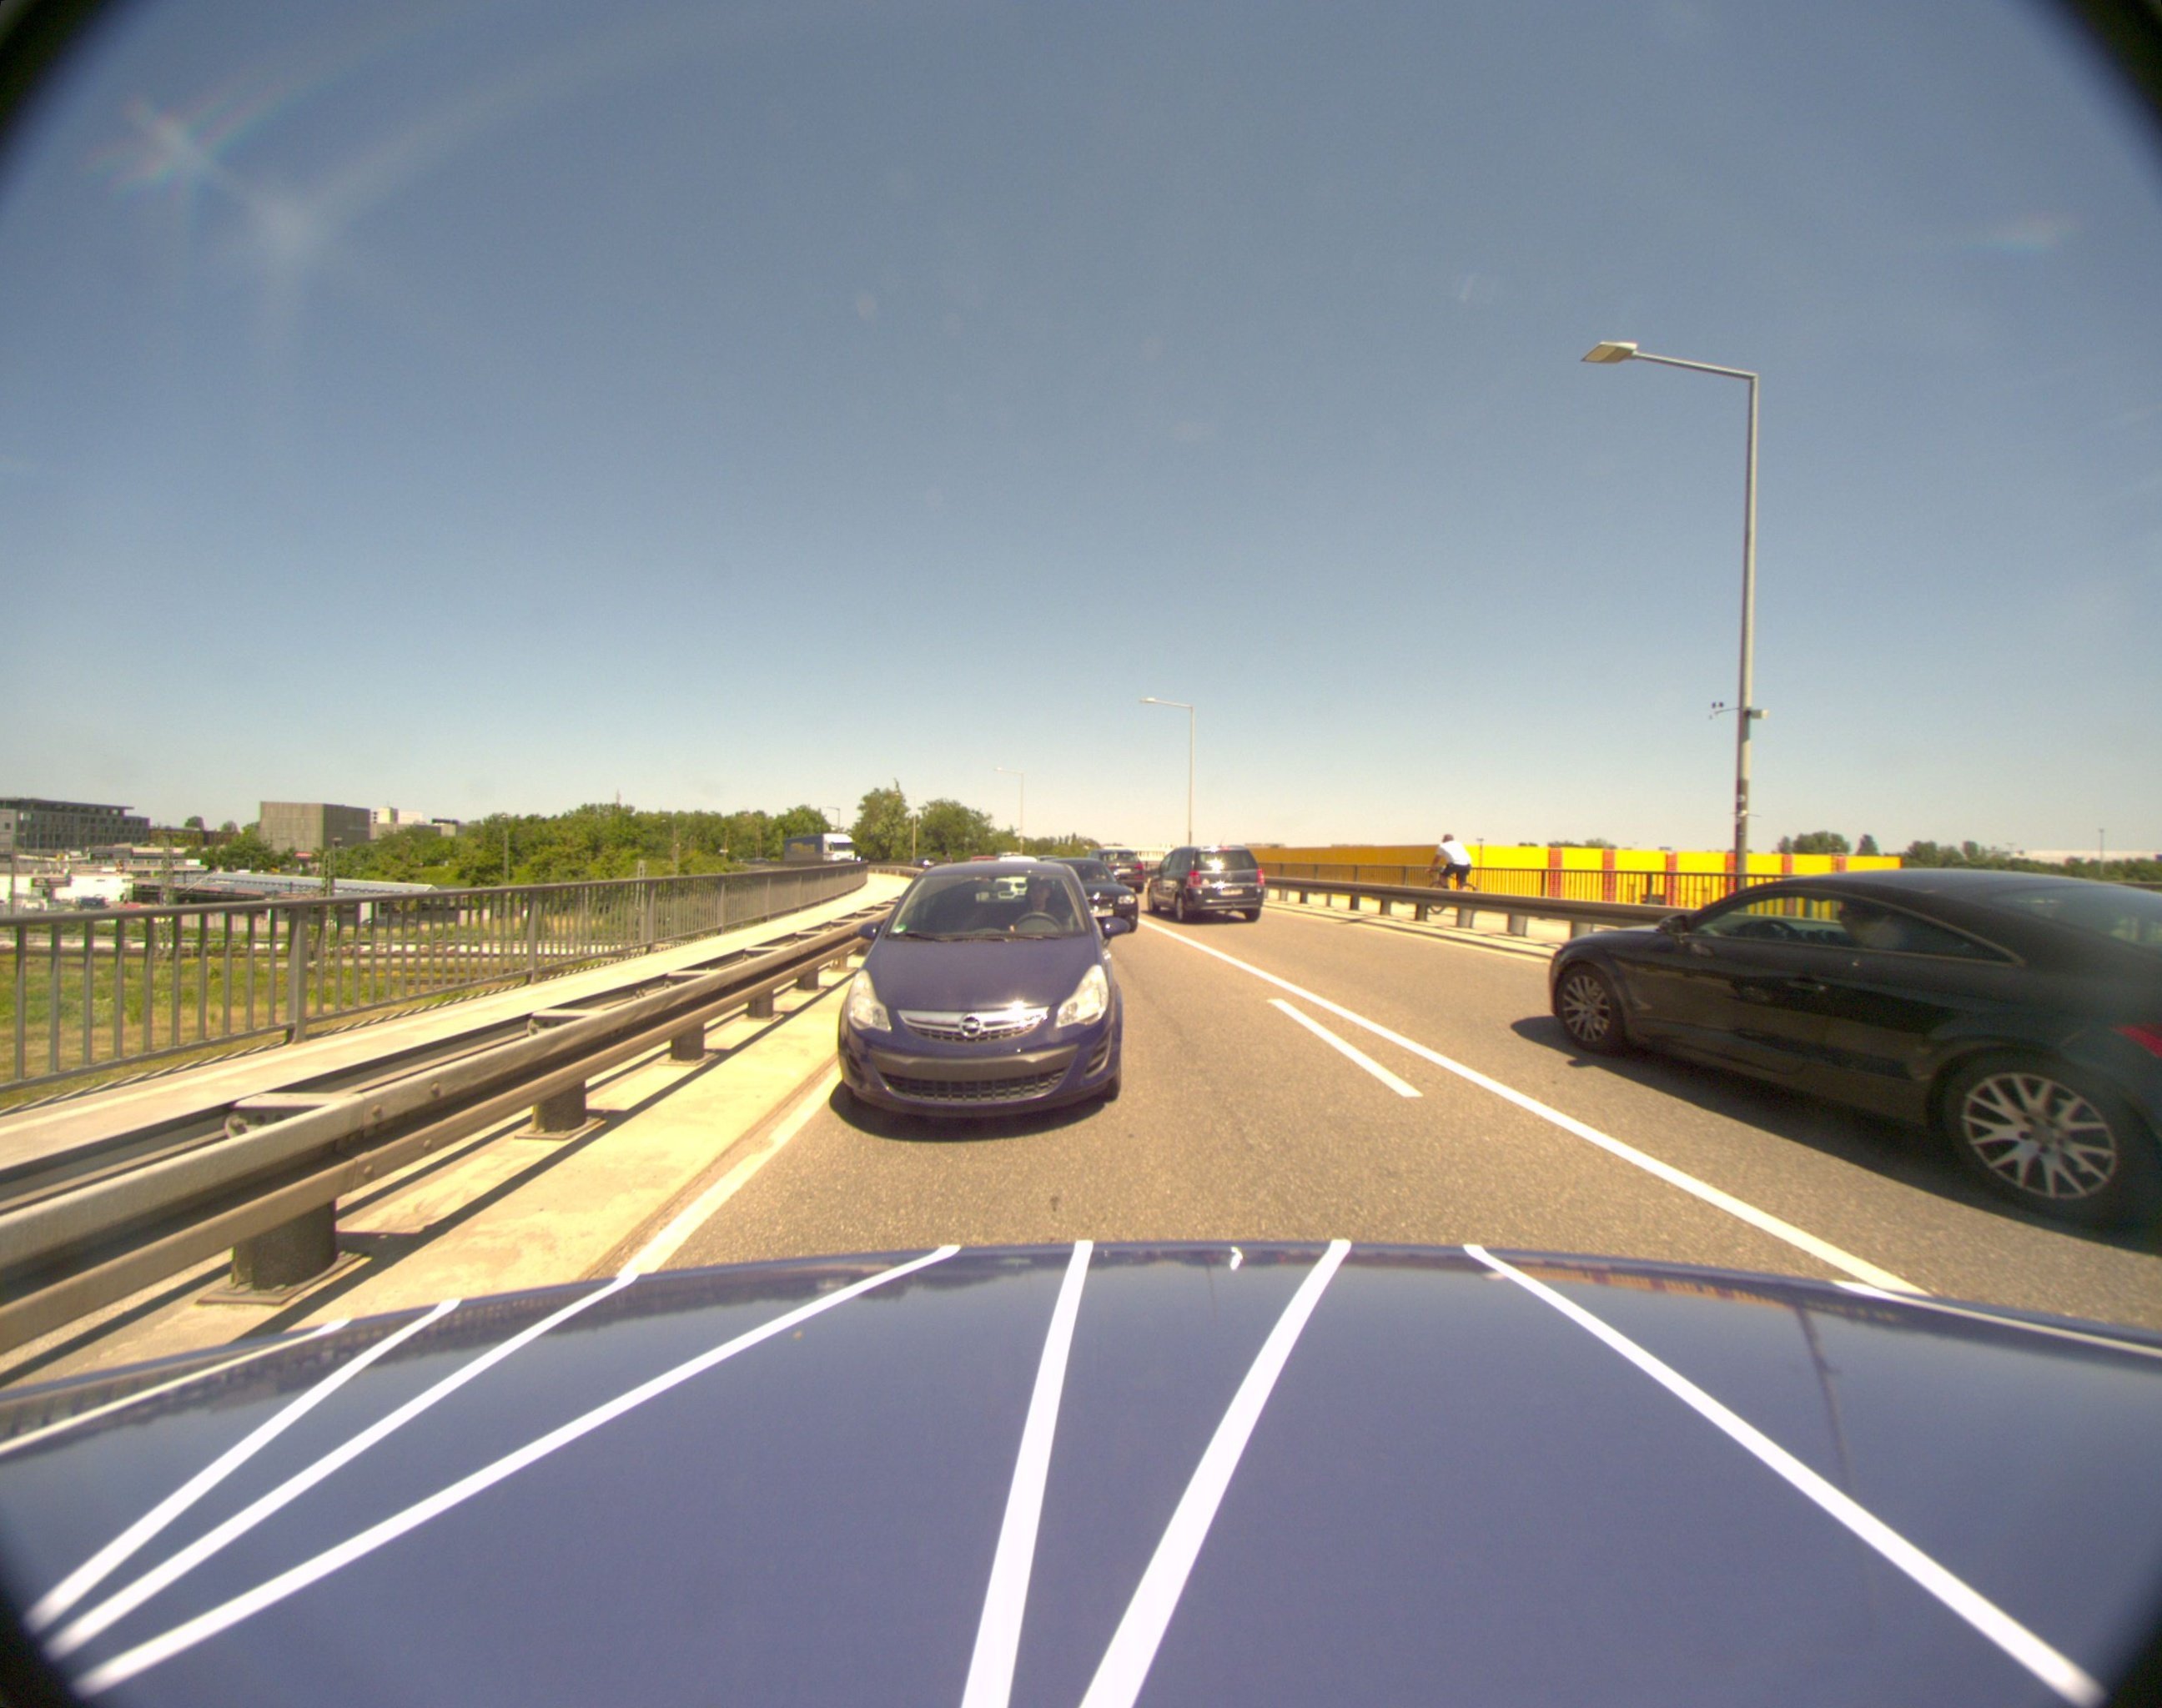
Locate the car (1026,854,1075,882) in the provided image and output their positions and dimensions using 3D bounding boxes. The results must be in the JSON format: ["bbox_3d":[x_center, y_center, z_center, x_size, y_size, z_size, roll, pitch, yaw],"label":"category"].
[{"bbox_3d":[-1.702,0.712,41.070,1.704,1.368,3.994,-1,1,-17],"label":"car"}]

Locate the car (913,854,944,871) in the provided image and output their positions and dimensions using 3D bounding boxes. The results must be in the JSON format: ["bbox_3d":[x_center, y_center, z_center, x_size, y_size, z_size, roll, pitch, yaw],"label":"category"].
[{"bbox_3d":[-14.041,0.749,69.858,1.780,1.430,4.382,-1,1,-25],"label":"car"}]

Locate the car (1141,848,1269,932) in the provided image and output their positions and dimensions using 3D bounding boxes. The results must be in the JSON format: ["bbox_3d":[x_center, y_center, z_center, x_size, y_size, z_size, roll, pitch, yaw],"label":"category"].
[{"bbox_3d":[2.664,0.711,17.285,1.712,1.617,4.250,-2,0,-7],"label":"car"}]

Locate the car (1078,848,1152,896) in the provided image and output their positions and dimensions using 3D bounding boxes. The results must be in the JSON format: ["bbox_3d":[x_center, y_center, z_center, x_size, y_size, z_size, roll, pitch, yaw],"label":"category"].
[{"bbox_3d":[1.202,0.624,28.971,1.807,1.631,4.296,-1,0,-11],"label":"car"}]

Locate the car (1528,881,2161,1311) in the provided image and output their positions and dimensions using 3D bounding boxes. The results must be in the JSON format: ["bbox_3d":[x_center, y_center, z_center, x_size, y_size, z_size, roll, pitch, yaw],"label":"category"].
[{"bbox_3d":[4.485,0.896,4.107,1.683,1.300,3.972,-1,0,-2],"label":"car"}]

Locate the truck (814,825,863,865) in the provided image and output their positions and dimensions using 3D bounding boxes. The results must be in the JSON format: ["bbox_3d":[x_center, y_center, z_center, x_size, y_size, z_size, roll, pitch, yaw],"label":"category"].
[{"bbox_3d":[-26.939,-0.952,84.171,2.701,4.205,6.820,-4,2,-39],"label":"truck"}]

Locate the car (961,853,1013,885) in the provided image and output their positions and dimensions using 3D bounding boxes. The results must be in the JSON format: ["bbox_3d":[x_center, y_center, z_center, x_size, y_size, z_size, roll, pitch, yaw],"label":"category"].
[{"bbox_3d":[-4.834,0.700,38.520,1.797,1.447,4.516,-2,1,-17],"label":"car"}]

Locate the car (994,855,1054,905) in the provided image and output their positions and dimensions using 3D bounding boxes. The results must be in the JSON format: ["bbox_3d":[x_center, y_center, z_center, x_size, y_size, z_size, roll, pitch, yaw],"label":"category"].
[{"bbox_3d":[-2.031,0.810,25.824,1.795,1.447,4.520,-2,1,-7],"label":"car"}]

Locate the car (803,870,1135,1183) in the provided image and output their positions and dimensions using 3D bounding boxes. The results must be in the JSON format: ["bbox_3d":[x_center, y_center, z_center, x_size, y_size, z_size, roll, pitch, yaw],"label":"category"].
[{"bbox_3d":[-0.683,0.915,5.890,1.645,1.431,3.998,-2,1,-4],"label":"car"}]

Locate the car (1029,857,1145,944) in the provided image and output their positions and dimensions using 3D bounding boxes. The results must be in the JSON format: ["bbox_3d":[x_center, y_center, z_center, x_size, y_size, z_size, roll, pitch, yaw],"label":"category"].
[{"bbox_3d":[-0.043,0.834,15.865,1.795,1.447,4.519,-2,1,-7],"label":"car"}]

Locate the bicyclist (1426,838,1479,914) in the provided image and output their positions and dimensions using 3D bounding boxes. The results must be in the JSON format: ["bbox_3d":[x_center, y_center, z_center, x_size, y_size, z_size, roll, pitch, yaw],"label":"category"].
[{"bbox_3d":[7.714,0.441,15.790,0.585,1.512,0.895,-1,1,-8],"label":"bicyclist"}]

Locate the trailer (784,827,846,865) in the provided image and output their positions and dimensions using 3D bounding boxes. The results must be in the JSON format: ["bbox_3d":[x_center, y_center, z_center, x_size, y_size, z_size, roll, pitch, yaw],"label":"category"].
[{"bbox_3d":[-31.753,-0.933,90.142,2.707,4.211,12.678,-3,2,-39],"label":"trailer"}]

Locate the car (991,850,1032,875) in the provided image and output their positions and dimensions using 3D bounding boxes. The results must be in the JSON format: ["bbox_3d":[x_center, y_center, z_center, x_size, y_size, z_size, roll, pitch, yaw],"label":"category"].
[{"bbox_3d":[-4.721,0.558,51.145,1.744,1.571,4.169,-1,1,-19],"label":"car"}]

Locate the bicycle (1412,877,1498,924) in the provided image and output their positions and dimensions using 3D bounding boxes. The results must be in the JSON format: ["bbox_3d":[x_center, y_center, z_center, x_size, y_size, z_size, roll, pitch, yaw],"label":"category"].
[{"bbox_3d":[7.723,0.935,15.813,0.590,0.828,1.990,-1,0,-8],"label":"bicycle"}]
